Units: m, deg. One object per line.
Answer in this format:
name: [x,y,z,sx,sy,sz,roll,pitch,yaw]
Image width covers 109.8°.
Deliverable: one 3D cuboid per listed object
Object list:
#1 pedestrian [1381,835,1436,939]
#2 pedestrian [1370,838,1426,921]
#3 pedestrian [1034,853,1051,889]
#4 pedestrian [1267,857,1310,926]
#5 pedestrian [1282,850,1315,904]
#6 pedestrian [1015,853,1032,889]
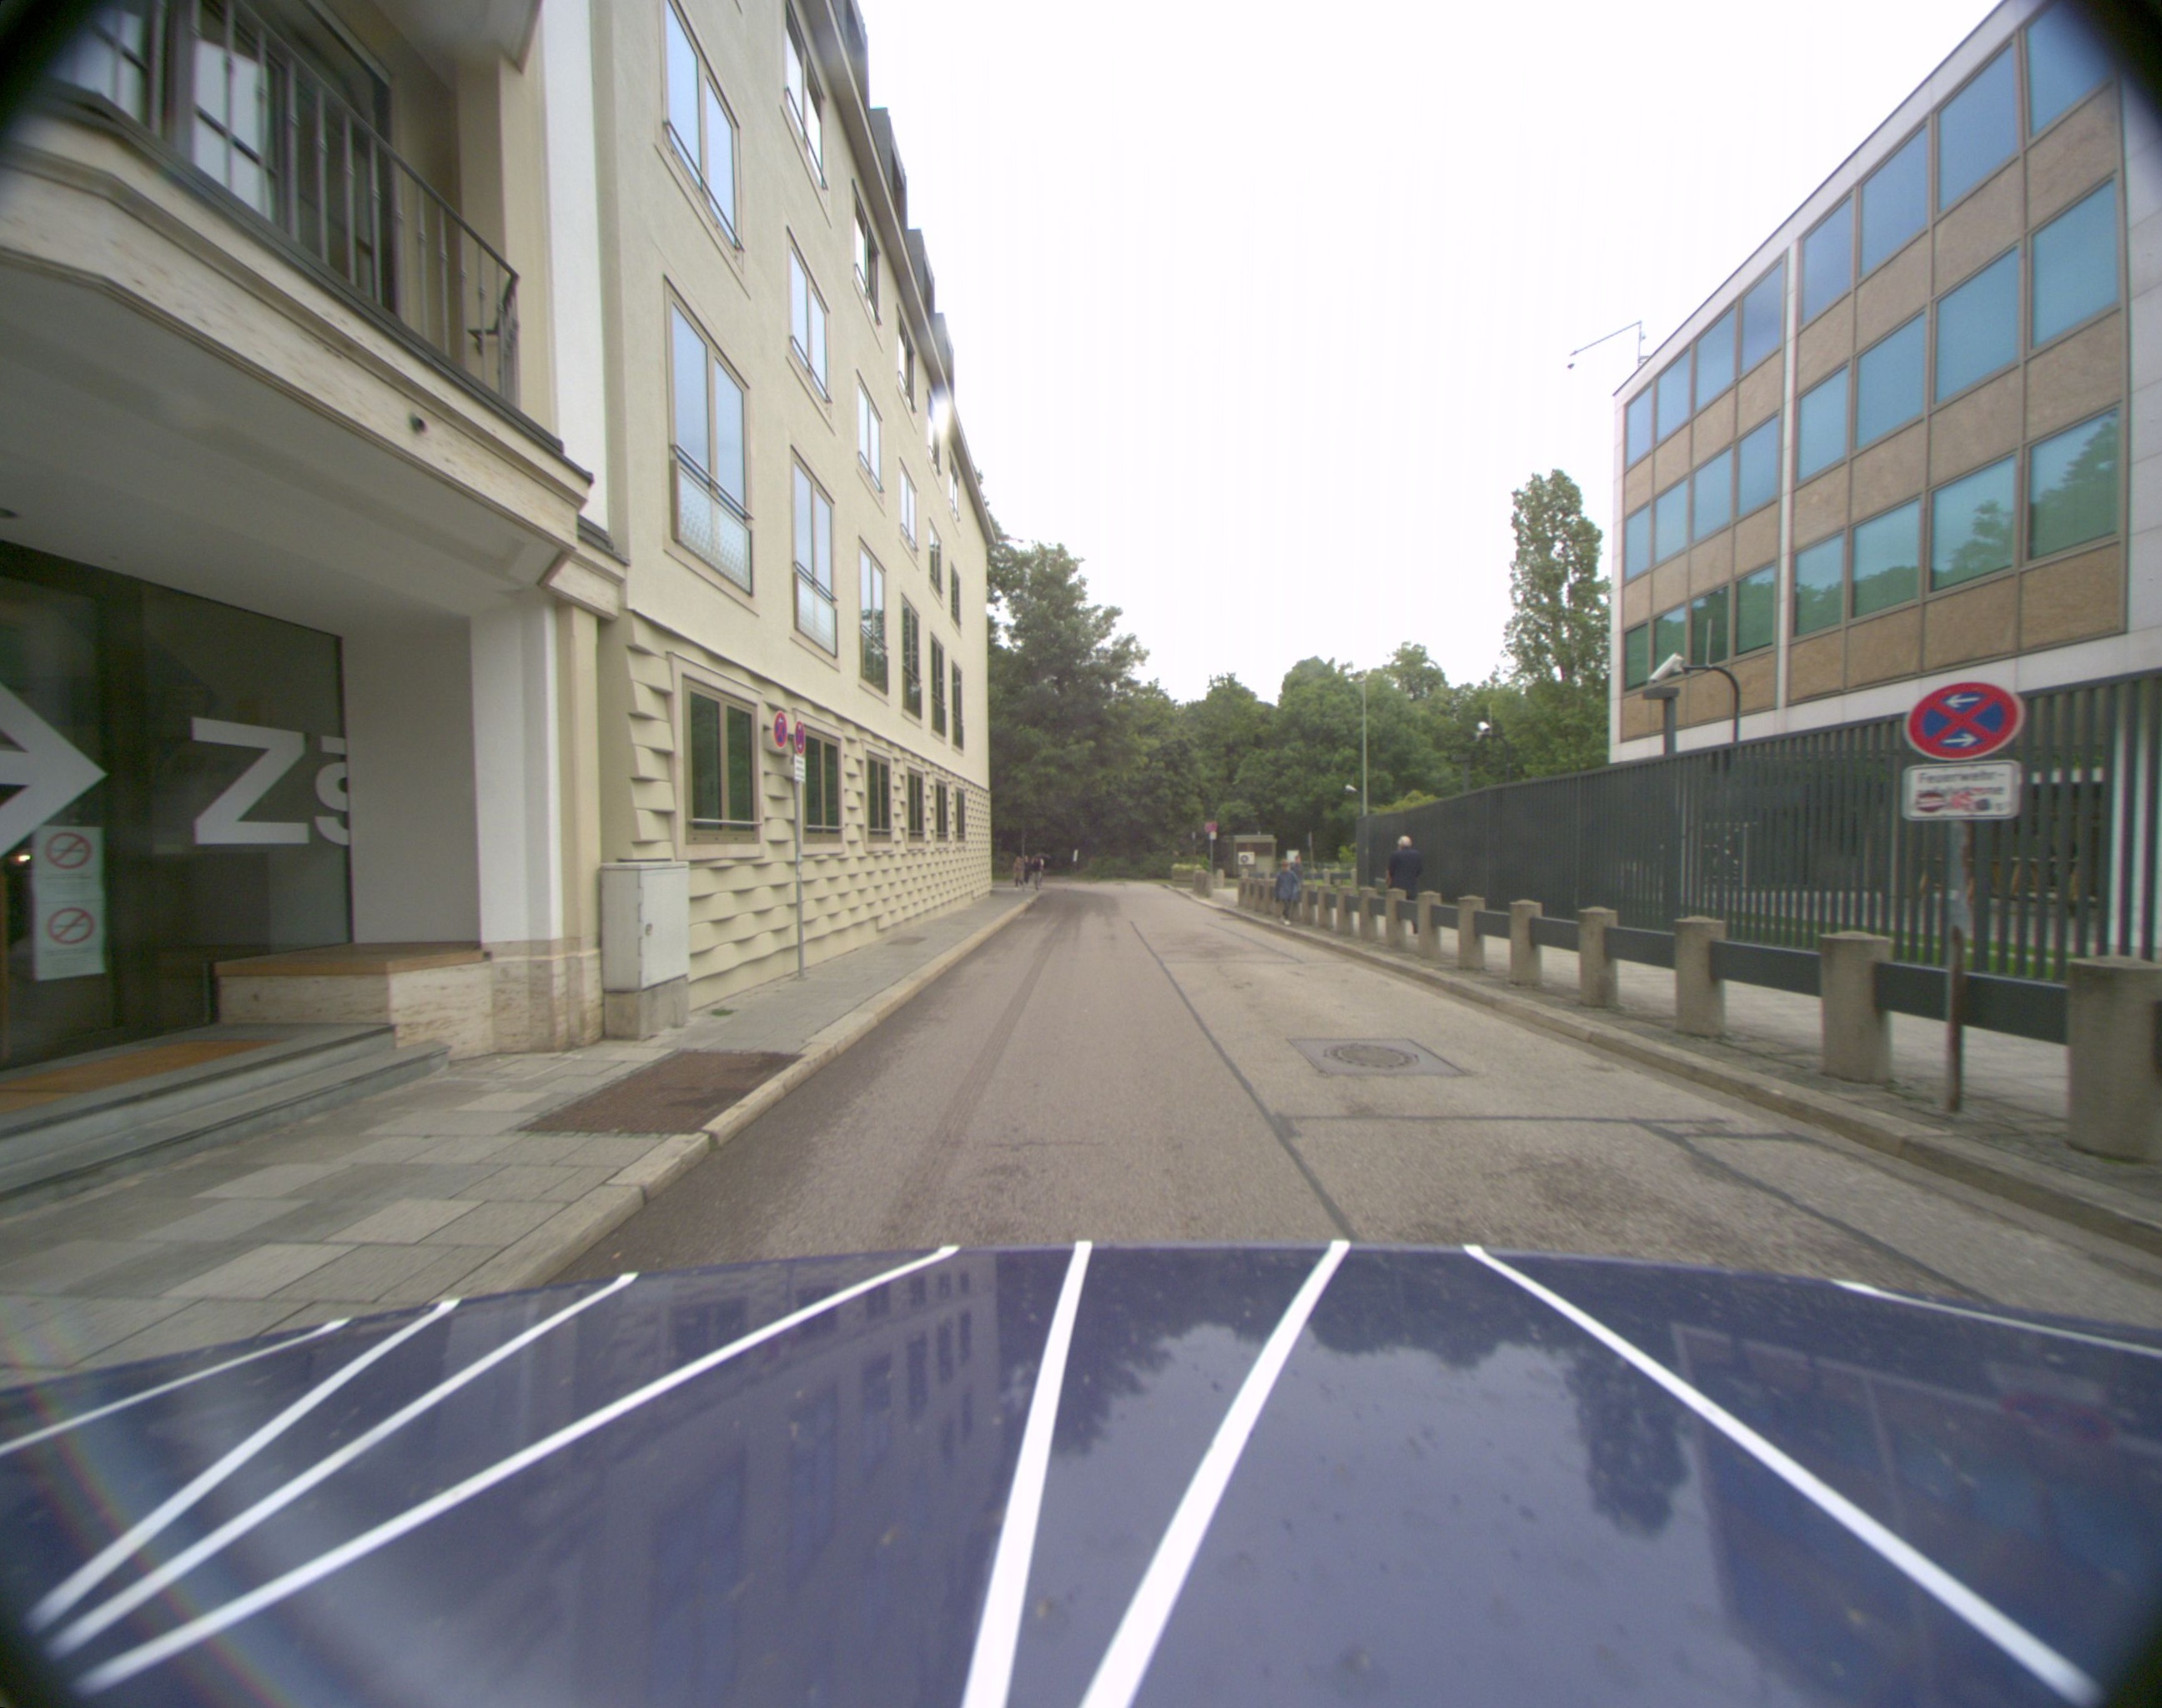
pedestrian: [5.677,0.557,13.197,0.625,1.758,0.766,0,1,0]
pedestrian: [6.773,0.528,16.278,0.826,1.713,0.906,-2,1,6]
pedestrian: [-1.866,0.821,36.627,0.753,1.726,0.853,0,1,-1]
pedestrian: [4.584,0.807,16.841,0.640,1.459,1.079,-2,1,1]
pedestrian: [6.460,0.672,22.572,0.778,1.531,0.933,-2,1,9]
pedestrian: [-2.727,0.789,36.085,0.753,1.671,0.655,0,1,-1]
